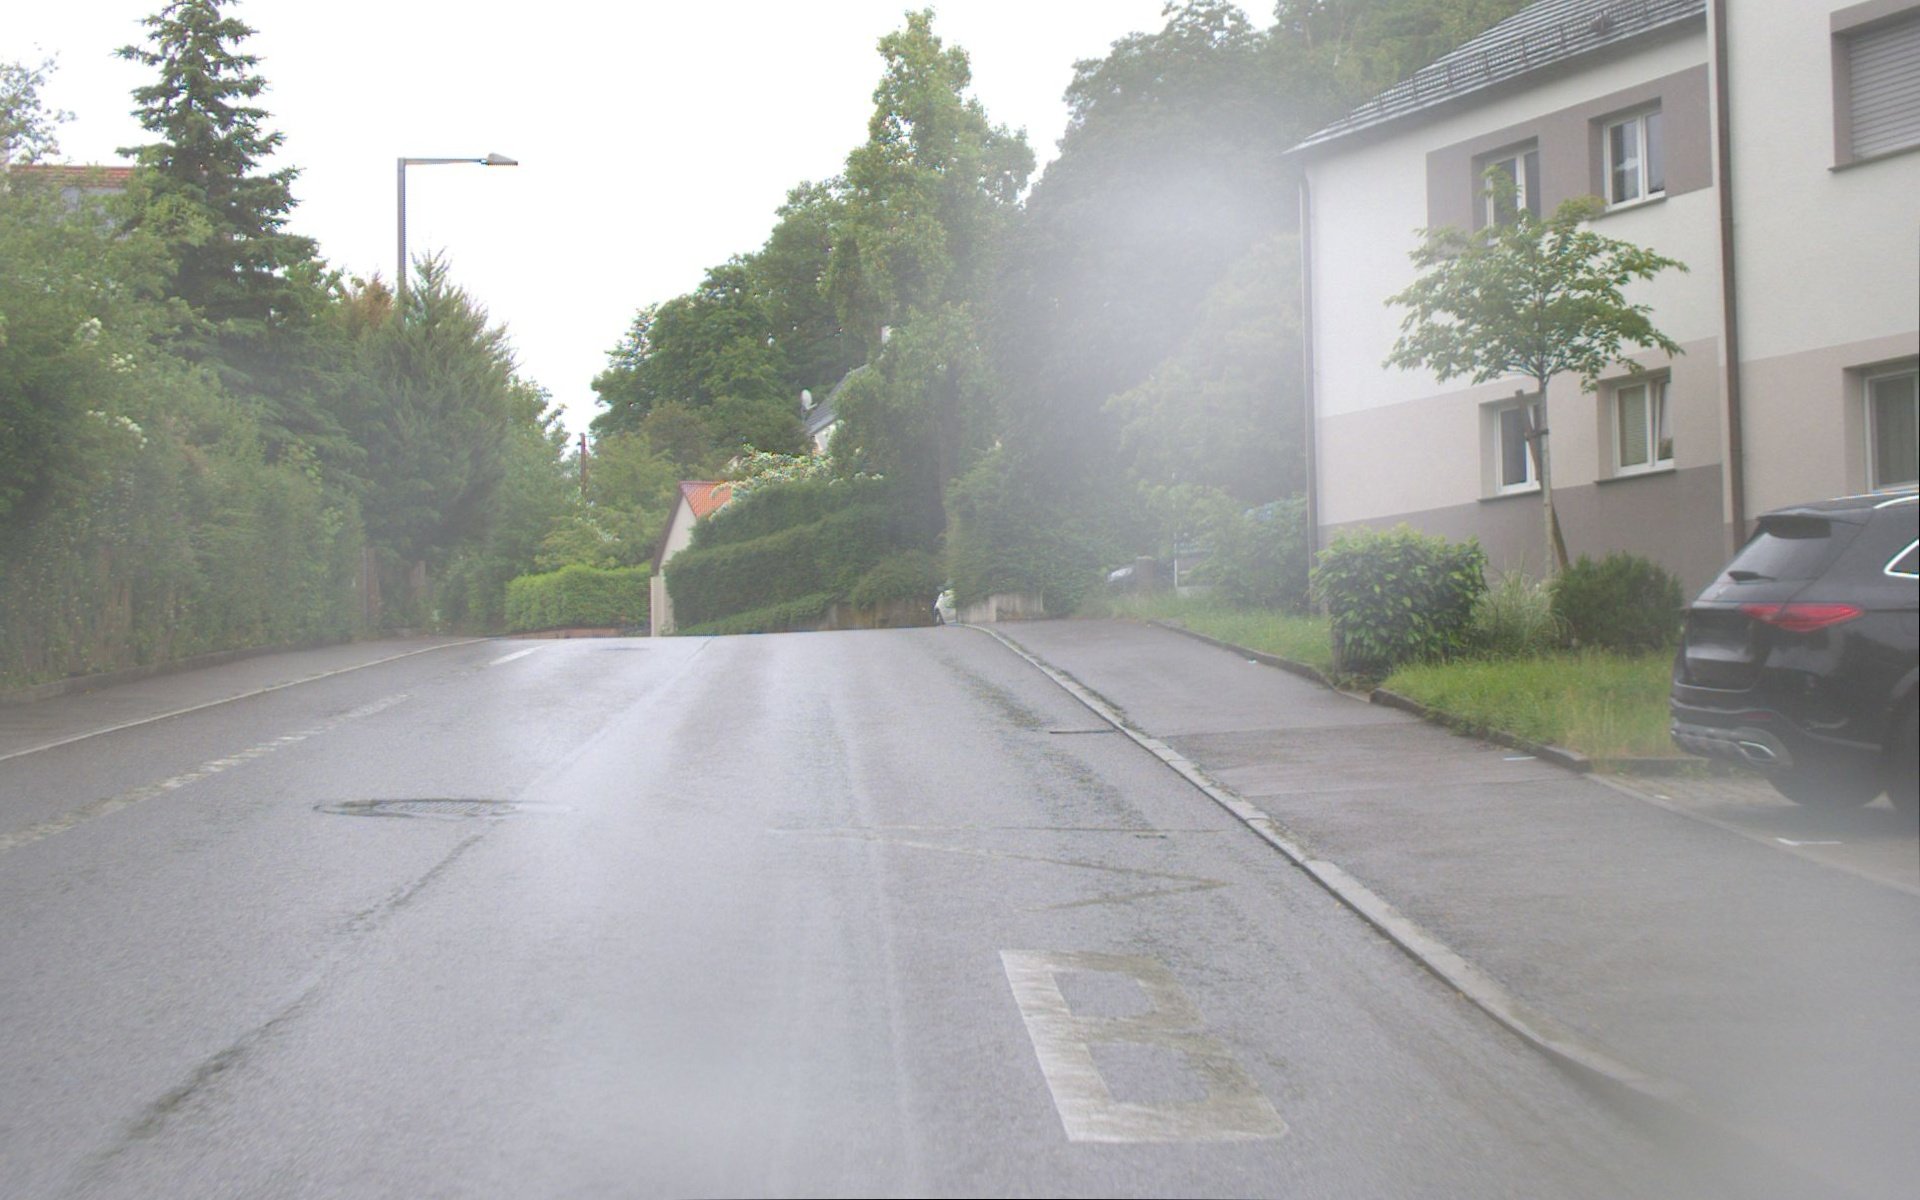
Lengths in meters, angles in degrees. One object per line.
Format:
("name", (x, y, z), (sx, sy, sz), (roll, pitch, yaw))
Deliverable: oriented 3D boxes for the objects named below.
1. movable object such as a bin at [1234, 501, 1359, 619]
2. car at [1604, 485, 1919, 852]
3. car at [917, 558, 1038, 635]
("movable object such as a bin", (4.368, -0.521, 44.683), (1.240, 1.492, 0.983), (-2, 1, -36))
("car", (5.659, 0.242, 16.877), (4.525, 1.655, 1.856), (-2, 1, -8))
("car", (0.381, -0.065, 78.454), (1.531, 1.530, 3.846), (-5, 0, -17))
